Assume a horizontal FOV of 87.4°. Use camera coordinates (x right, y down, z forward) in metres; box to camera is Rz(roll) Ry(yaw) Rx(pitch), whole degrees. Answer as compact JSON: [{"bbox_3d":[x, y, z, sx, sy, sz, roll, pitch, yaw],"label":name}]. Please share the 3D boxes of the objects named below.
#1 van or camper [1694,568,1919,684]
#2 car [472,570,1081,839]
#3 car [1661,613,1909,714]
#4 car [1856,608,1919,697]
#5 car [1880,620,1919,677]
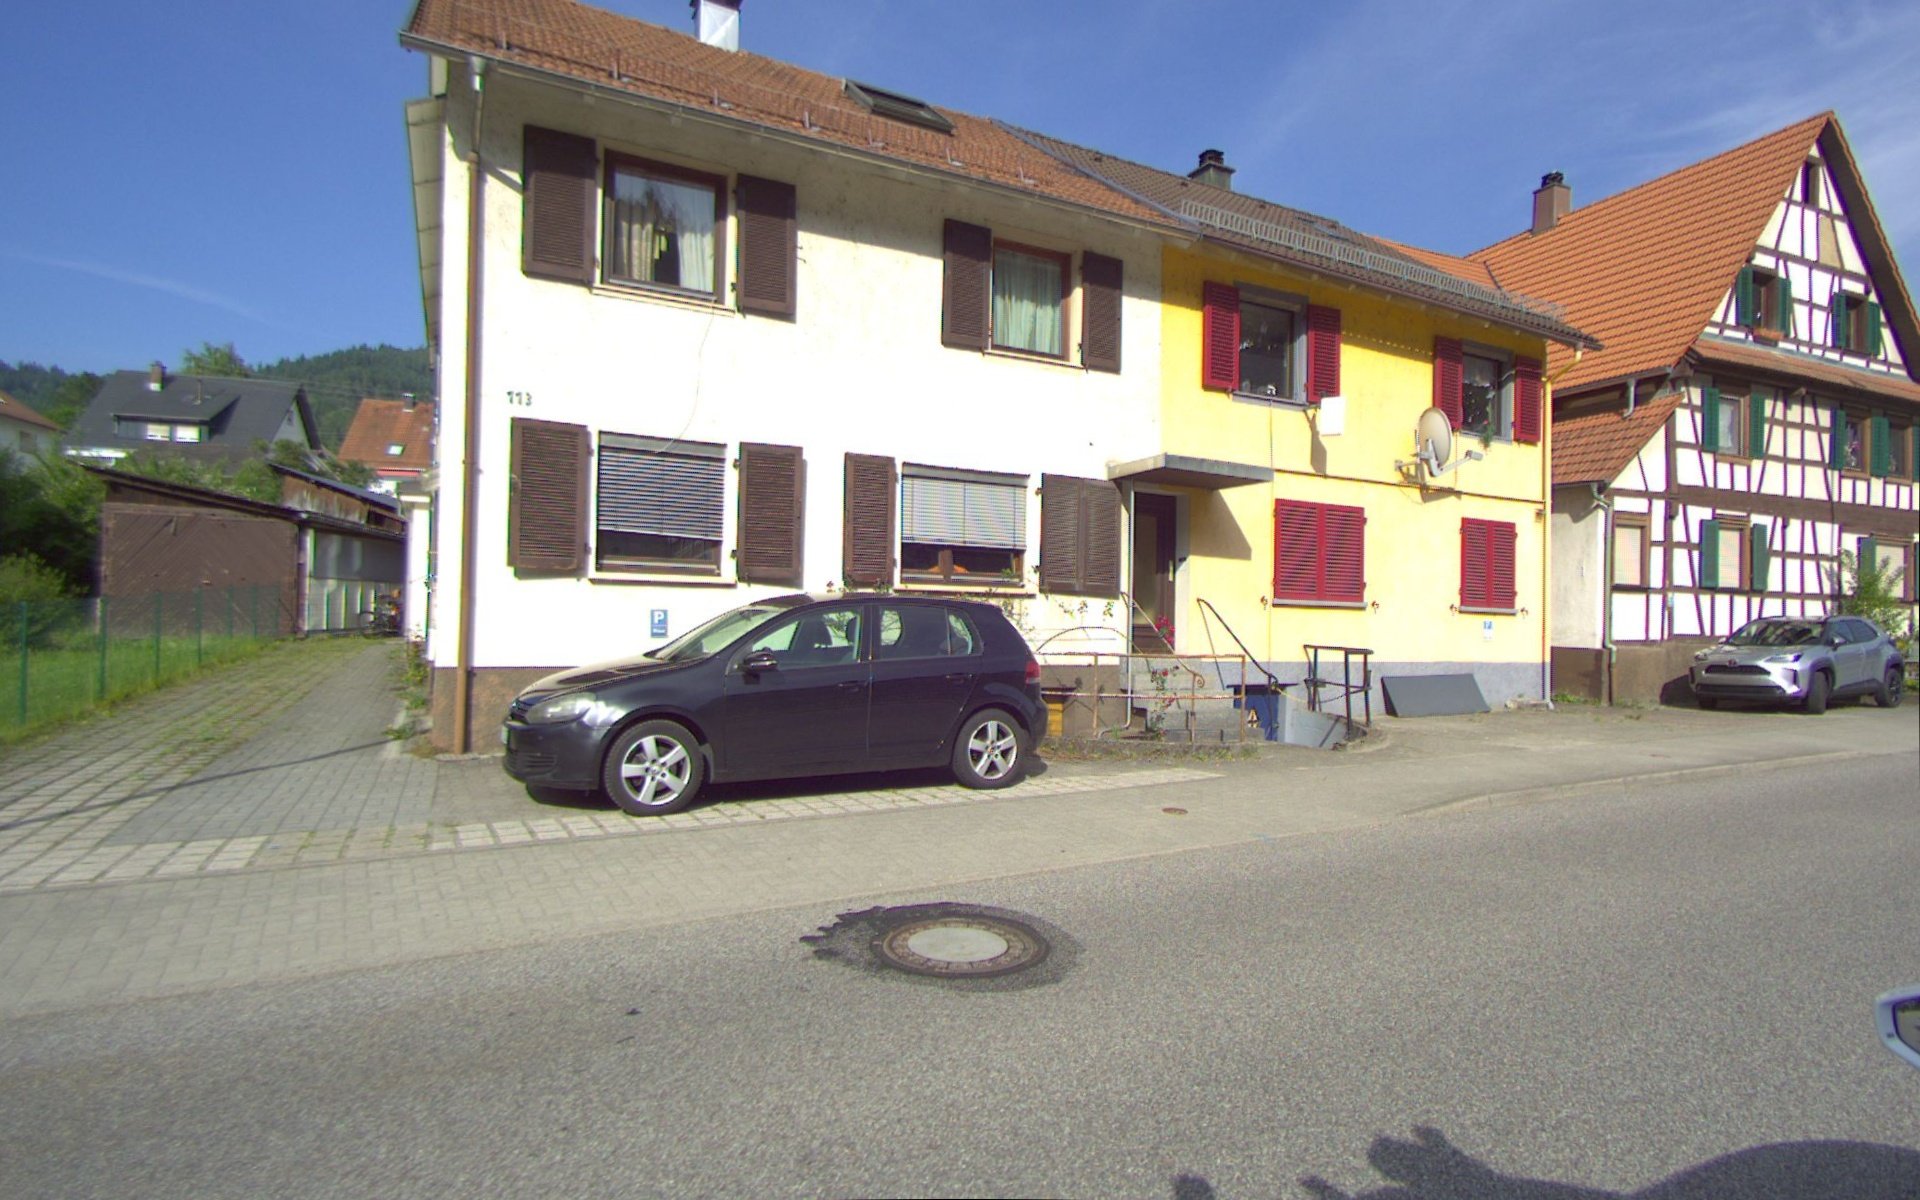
[{"bbox_3d":[22.614,0.615,26.261,2.159,2.699,5.169,1,0,-20],"label":"van or camper"},{"bbox_3d":[-1.306,0.630,7.679,4.190,1.539,1.874,1,0,-32],"label":"car"},{"bbox_3d":[14.057,1.028,17.100,4.043,1.539,1.877,1,-2,-29],"label":"car"},{"bbox_3d":[20.163,1.043,20.011,4.208,1.686,1.896,1,0,-24],"label":"car"},{"bbox_3d":[28.154,1.411,27.542,1.882,1.570,3.903,1,1,-27],"label":"car"}]
